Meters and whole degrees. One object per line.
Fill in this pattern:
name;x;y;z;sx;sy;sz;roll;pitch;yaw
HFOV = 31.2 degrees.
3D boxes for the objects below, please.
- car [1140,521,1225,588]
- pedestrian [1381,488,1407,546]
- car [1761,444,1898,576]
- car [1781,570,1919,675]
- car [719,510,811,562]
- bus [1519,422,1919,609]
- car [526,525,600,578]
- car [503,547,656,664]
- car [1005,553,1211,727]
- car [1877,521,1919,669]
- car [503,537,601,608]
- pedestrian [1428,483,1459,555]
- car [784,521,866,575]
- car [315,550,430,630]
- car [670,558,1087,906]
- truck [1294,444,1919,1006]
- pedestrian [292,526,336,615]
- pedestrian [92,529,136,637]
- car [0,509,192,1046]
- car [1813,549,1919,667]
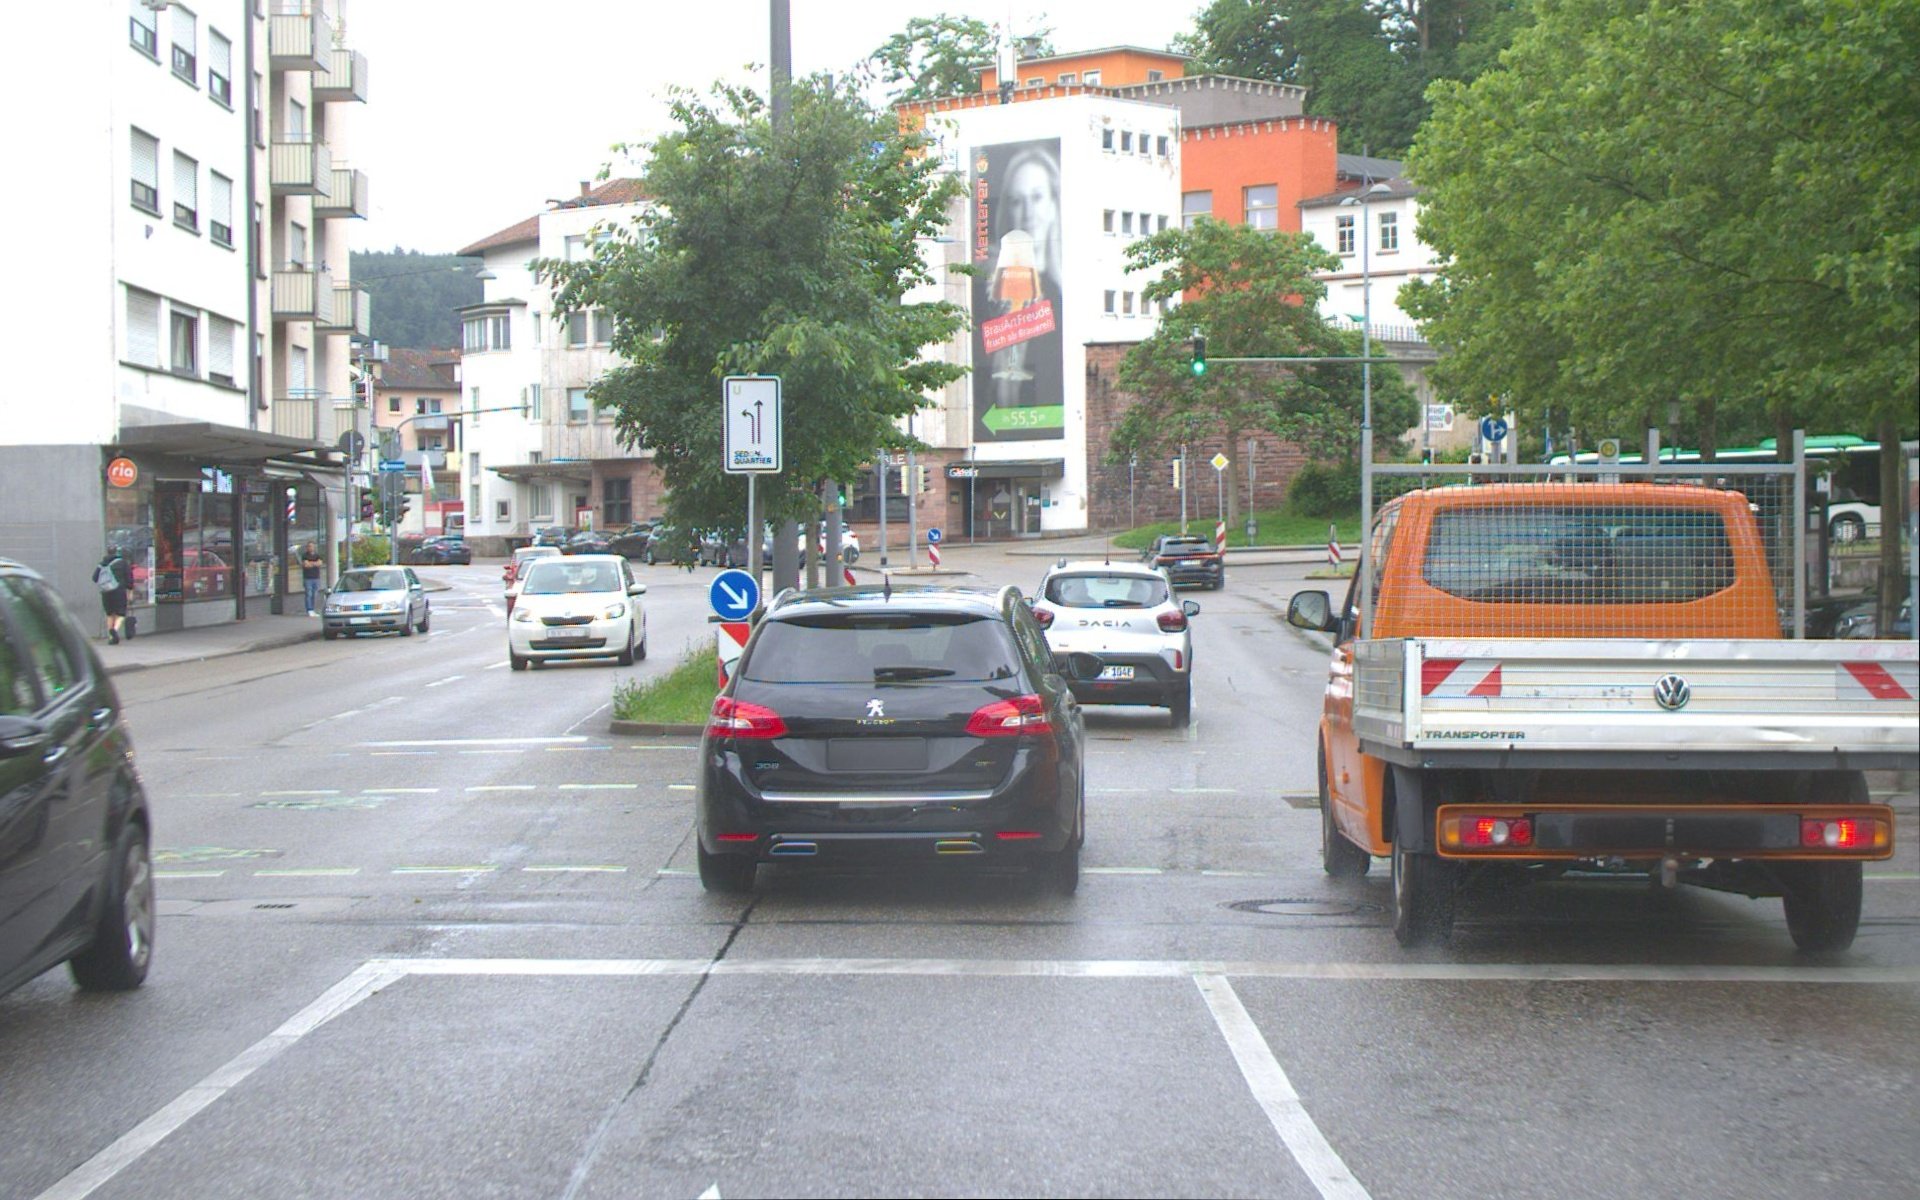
car;5.738;-1.162;88.961;1.644;1.559;3.600;2;-1;-4
pedestrian;12.619;-2.413;99.963;0.639;1.658;0.563;-1;3;-2
car;20.186;-2.071;79.992;2.072;2.960;4.227;1;1;0
car;14.894;0.381;53.071;3.987;1.504;1.743;2;1;2
car;-6.305;-2.053;110.998;1.644;1.559;3.601;3;-1;-26
bus;25.303;-2.380;98.794;17.919;5.193;3.099;1;1;2
car;-10.803;-1.333;93.655;1.690;1.396;3.662;0;1;-2
car;-5.111;0.046;46.511;1.654;1.445;3.543;-2;1;0
car;1.365;0.322;32.232;1.795;1.478;4.000;0;1;2
car;14.465;-0.037;45.740;3.987;1.918;1.970;1;1;2
car;-8.507;-0.593;71.893;1.664;1.395;3.877;-1;1;-2
pedestrian;13.489;-2.266;95.911;0.718;1.986;0.563;-1;3;-2
car;-4.790;-1.842;121.407;1.993;1.815;4.002;0;2;-16
car;-11.774;-0.219;69.079;1.777;1.520;3.662;0;1;-2
car;-0.296;0.550;17.046;1.795;1.478;4.000;1;1;2
truck;2.679;0.392;14.965;2.122;2.018;4.716;1;2;2
pedestrian;-15.003;-0.686;79.831;0.726;2.007;0.657;3;-1;-34
pedestrian;-14.735;-0.300;59.878;0.639;1.854;0.524;1;1;-3
car;-3.762;0.533;11.033;1.736;1.596;3.920;-2;2;-1
car;14.720;0.160;50.297;3.987;1.644;1.917;2;1;2
